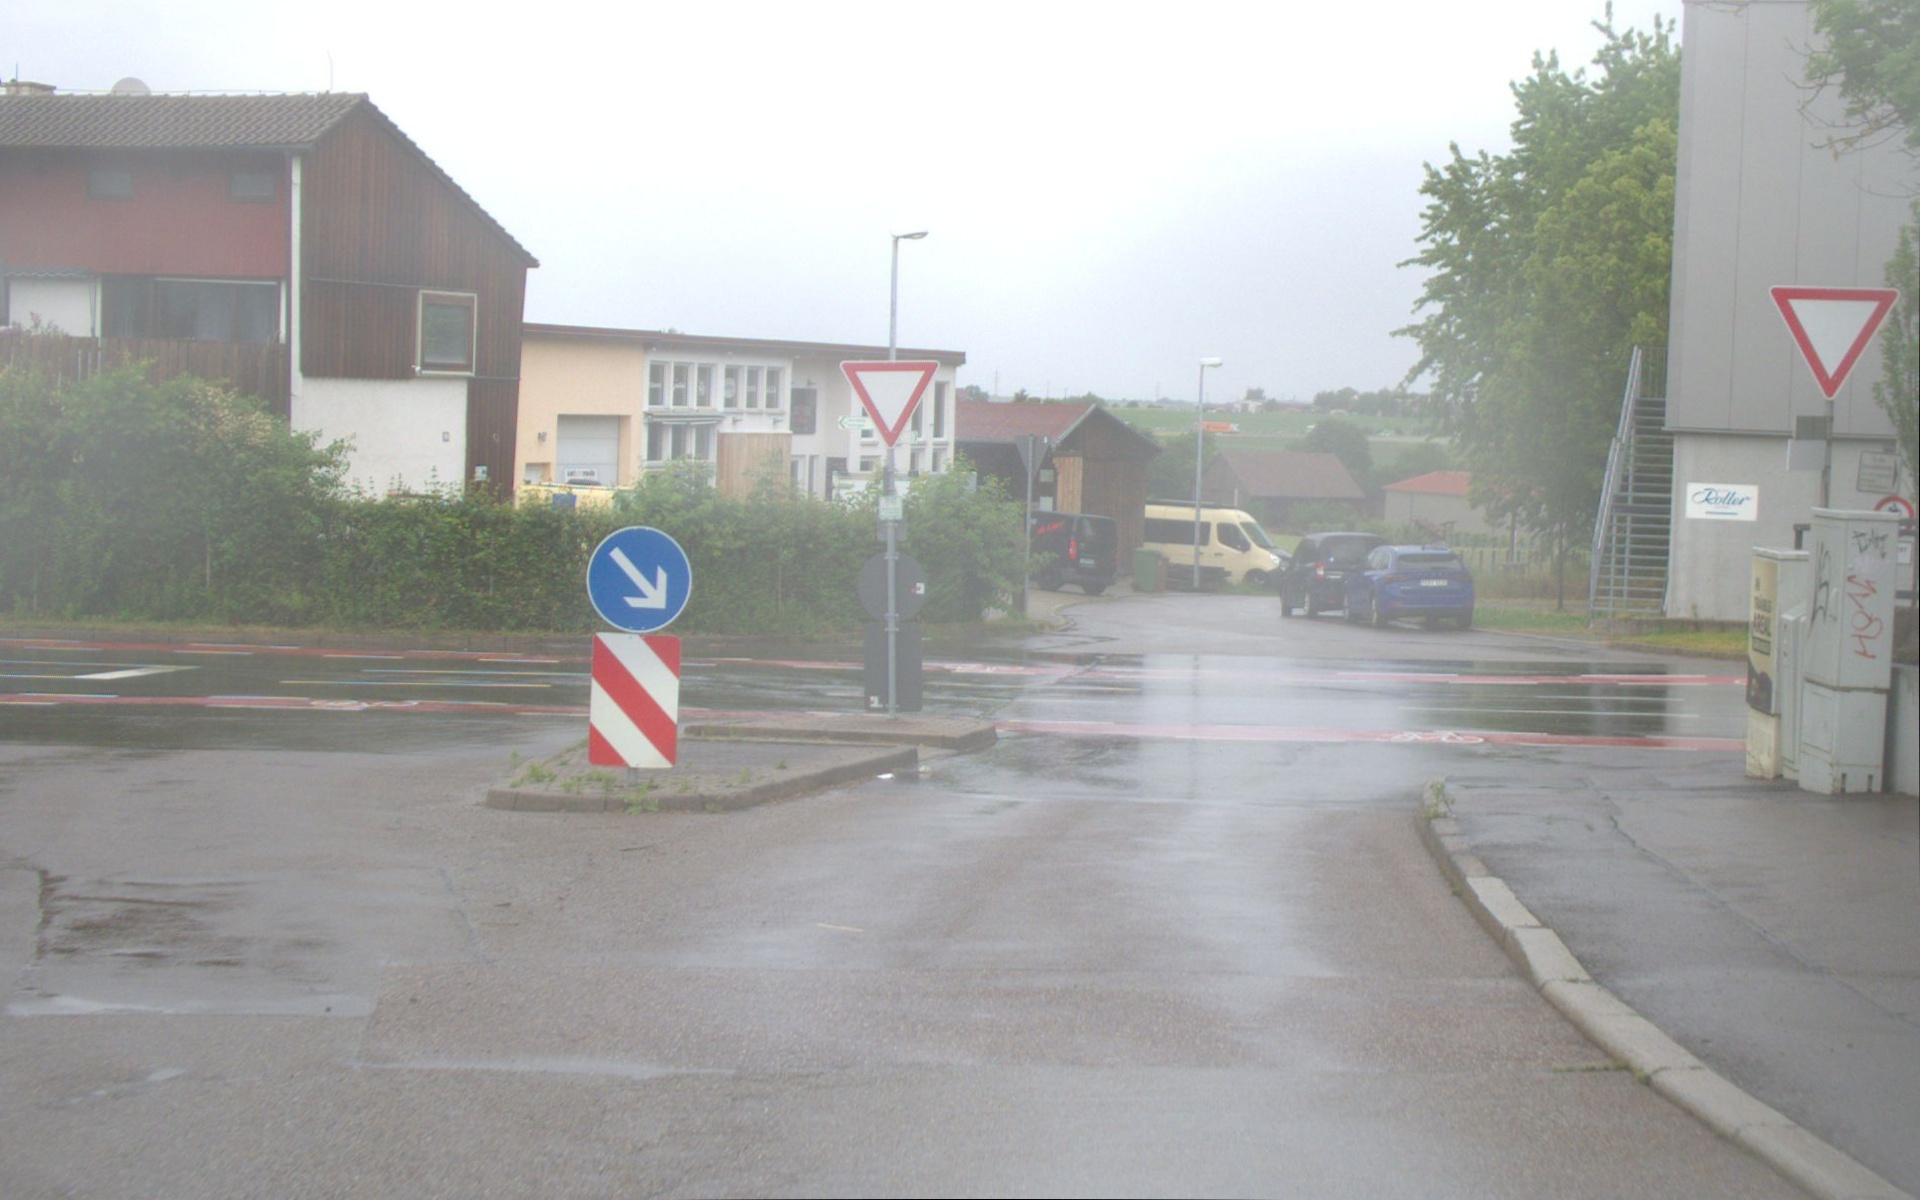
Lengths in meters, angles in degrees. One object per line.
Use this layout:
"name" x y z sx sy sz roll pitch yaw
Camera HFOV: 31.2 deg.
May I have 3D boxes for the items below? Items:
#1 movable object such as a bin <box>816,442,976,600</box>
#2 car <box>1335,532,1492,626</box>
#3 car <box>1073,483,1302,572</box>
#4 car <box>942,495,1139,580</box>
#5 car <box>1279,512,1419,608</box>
"movable object such as a bin" -1.035 -1.307 57.432 1.734 2.548 3.337 1 1 16
"car" 8.206 -0.409 62.608 1.951 1.604 4.447 1 1 -4
"car" 6.501 -2.080 98.099 6.016 2.406 2.460 2 1 22
"car" 1.868 -1.471 80.619 4.407 1.898 1.995 2 1 44
"car" 7.759 -0.812 68.989 2.074 1.828 4.471 1 1 -3
